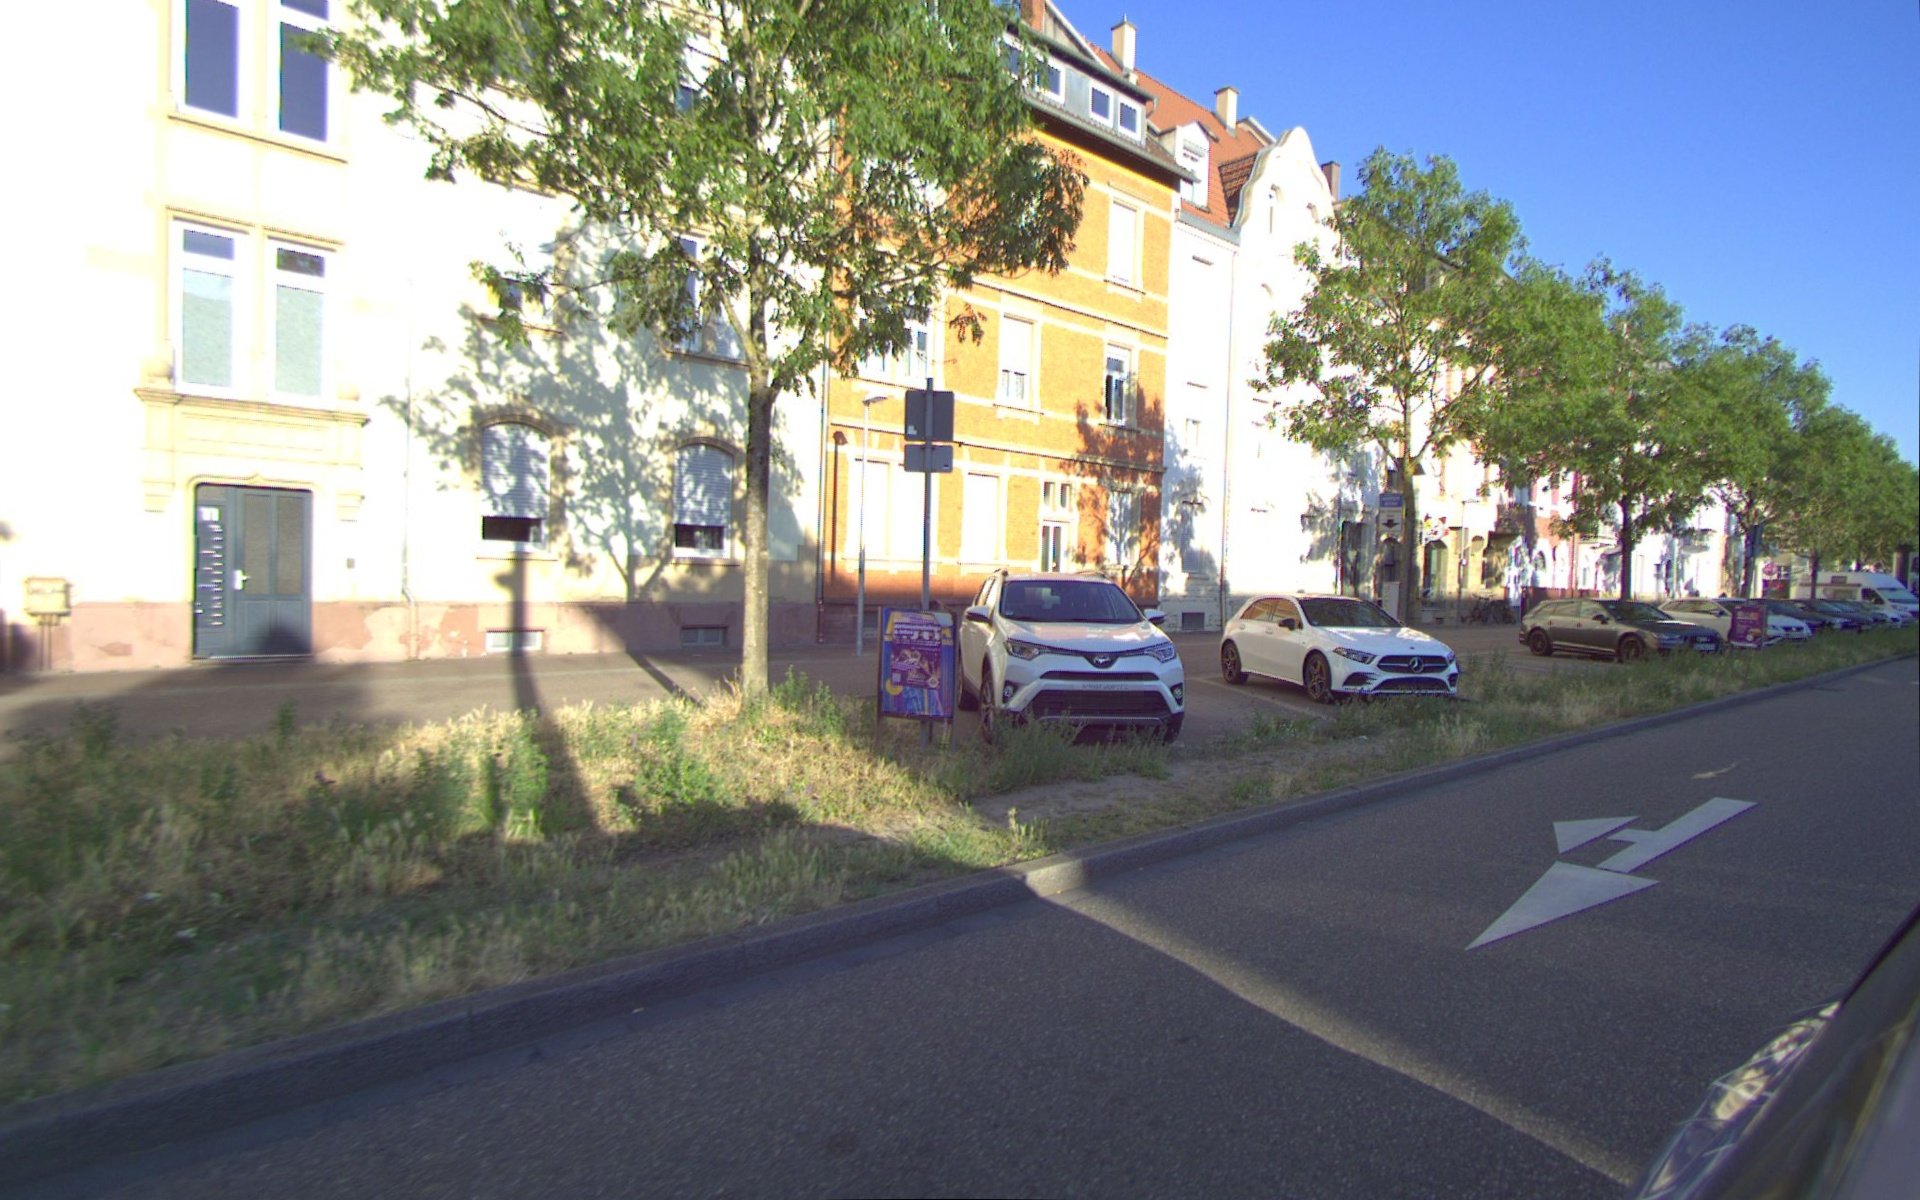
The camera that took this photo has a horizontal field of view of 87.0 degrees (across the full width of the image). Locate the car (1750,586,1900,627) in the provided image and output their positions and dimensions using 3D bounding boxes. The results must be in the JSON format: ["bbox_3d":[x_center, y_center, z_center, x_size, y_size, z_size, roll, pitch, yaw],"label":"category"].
[{"bbox_3d":[32.316,0.202,37.945,1.691,1.455,4.061,0,1,-12],"label":"car"}]

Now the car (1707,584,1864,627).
[{"bbox_3d":[29.845,0.172,36.791,1.848,1.434,4.440,1,1,-5],"label":"car"}]

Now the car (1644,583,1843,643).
[{"bbox_3d":[22.412,0.301,29.234,1.810,1.528,4.652,1,1,-5],"label":"car"}]

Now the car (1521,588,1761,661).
[{"bbox_3d":[15.062,0.475,22.776,1.857,1.365,4.591,1,2,-8],"label":"car"}]

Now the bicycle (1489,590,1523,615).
[{"bbox_3d":[21.944,0.094,40.660,1.894,1.003,0.580,0,2,-41],"label":"bicycle"}]

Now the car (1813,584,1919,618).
[{"bbox_3d":[41.667,0.038,46.332,1.761,1.420,3.926,1,2,-2],"label":"car"}]

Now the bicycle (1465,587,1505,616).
[{"bbox_3d":[20.378,0.053,39.270,2.189,1.092,0.589,0,3,-41],"label":"bicycle"}]

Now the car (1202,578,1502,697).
[{"bbox_3d":[5.418,0.412,14.774,1.989,1.417,4.564,0,2,-10],"label":"car"}]

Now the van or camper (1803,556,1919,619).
[{"bbox_3d":[44.141,-0.627,48.492,2.159,2.847,5.662,1,1,-9],"label":"van or camper"}]

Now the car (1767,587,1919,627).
[{"bbox_3d":[34.637,0.233,39.786,1.883,1.441,4.443,1,1,-9],"label":"car"}]

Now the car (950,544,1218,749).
[{"bbox_3d":[1.039,0.351,10.790,1.877,1.712,4.438,1,1,-6],"label":"car"}]

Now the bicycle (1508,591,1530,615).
[{"bbox_3d":[23.193,0.104,41.991,1.197,0.973,0.419,0,2,-41],"label":"bicycle"}]
